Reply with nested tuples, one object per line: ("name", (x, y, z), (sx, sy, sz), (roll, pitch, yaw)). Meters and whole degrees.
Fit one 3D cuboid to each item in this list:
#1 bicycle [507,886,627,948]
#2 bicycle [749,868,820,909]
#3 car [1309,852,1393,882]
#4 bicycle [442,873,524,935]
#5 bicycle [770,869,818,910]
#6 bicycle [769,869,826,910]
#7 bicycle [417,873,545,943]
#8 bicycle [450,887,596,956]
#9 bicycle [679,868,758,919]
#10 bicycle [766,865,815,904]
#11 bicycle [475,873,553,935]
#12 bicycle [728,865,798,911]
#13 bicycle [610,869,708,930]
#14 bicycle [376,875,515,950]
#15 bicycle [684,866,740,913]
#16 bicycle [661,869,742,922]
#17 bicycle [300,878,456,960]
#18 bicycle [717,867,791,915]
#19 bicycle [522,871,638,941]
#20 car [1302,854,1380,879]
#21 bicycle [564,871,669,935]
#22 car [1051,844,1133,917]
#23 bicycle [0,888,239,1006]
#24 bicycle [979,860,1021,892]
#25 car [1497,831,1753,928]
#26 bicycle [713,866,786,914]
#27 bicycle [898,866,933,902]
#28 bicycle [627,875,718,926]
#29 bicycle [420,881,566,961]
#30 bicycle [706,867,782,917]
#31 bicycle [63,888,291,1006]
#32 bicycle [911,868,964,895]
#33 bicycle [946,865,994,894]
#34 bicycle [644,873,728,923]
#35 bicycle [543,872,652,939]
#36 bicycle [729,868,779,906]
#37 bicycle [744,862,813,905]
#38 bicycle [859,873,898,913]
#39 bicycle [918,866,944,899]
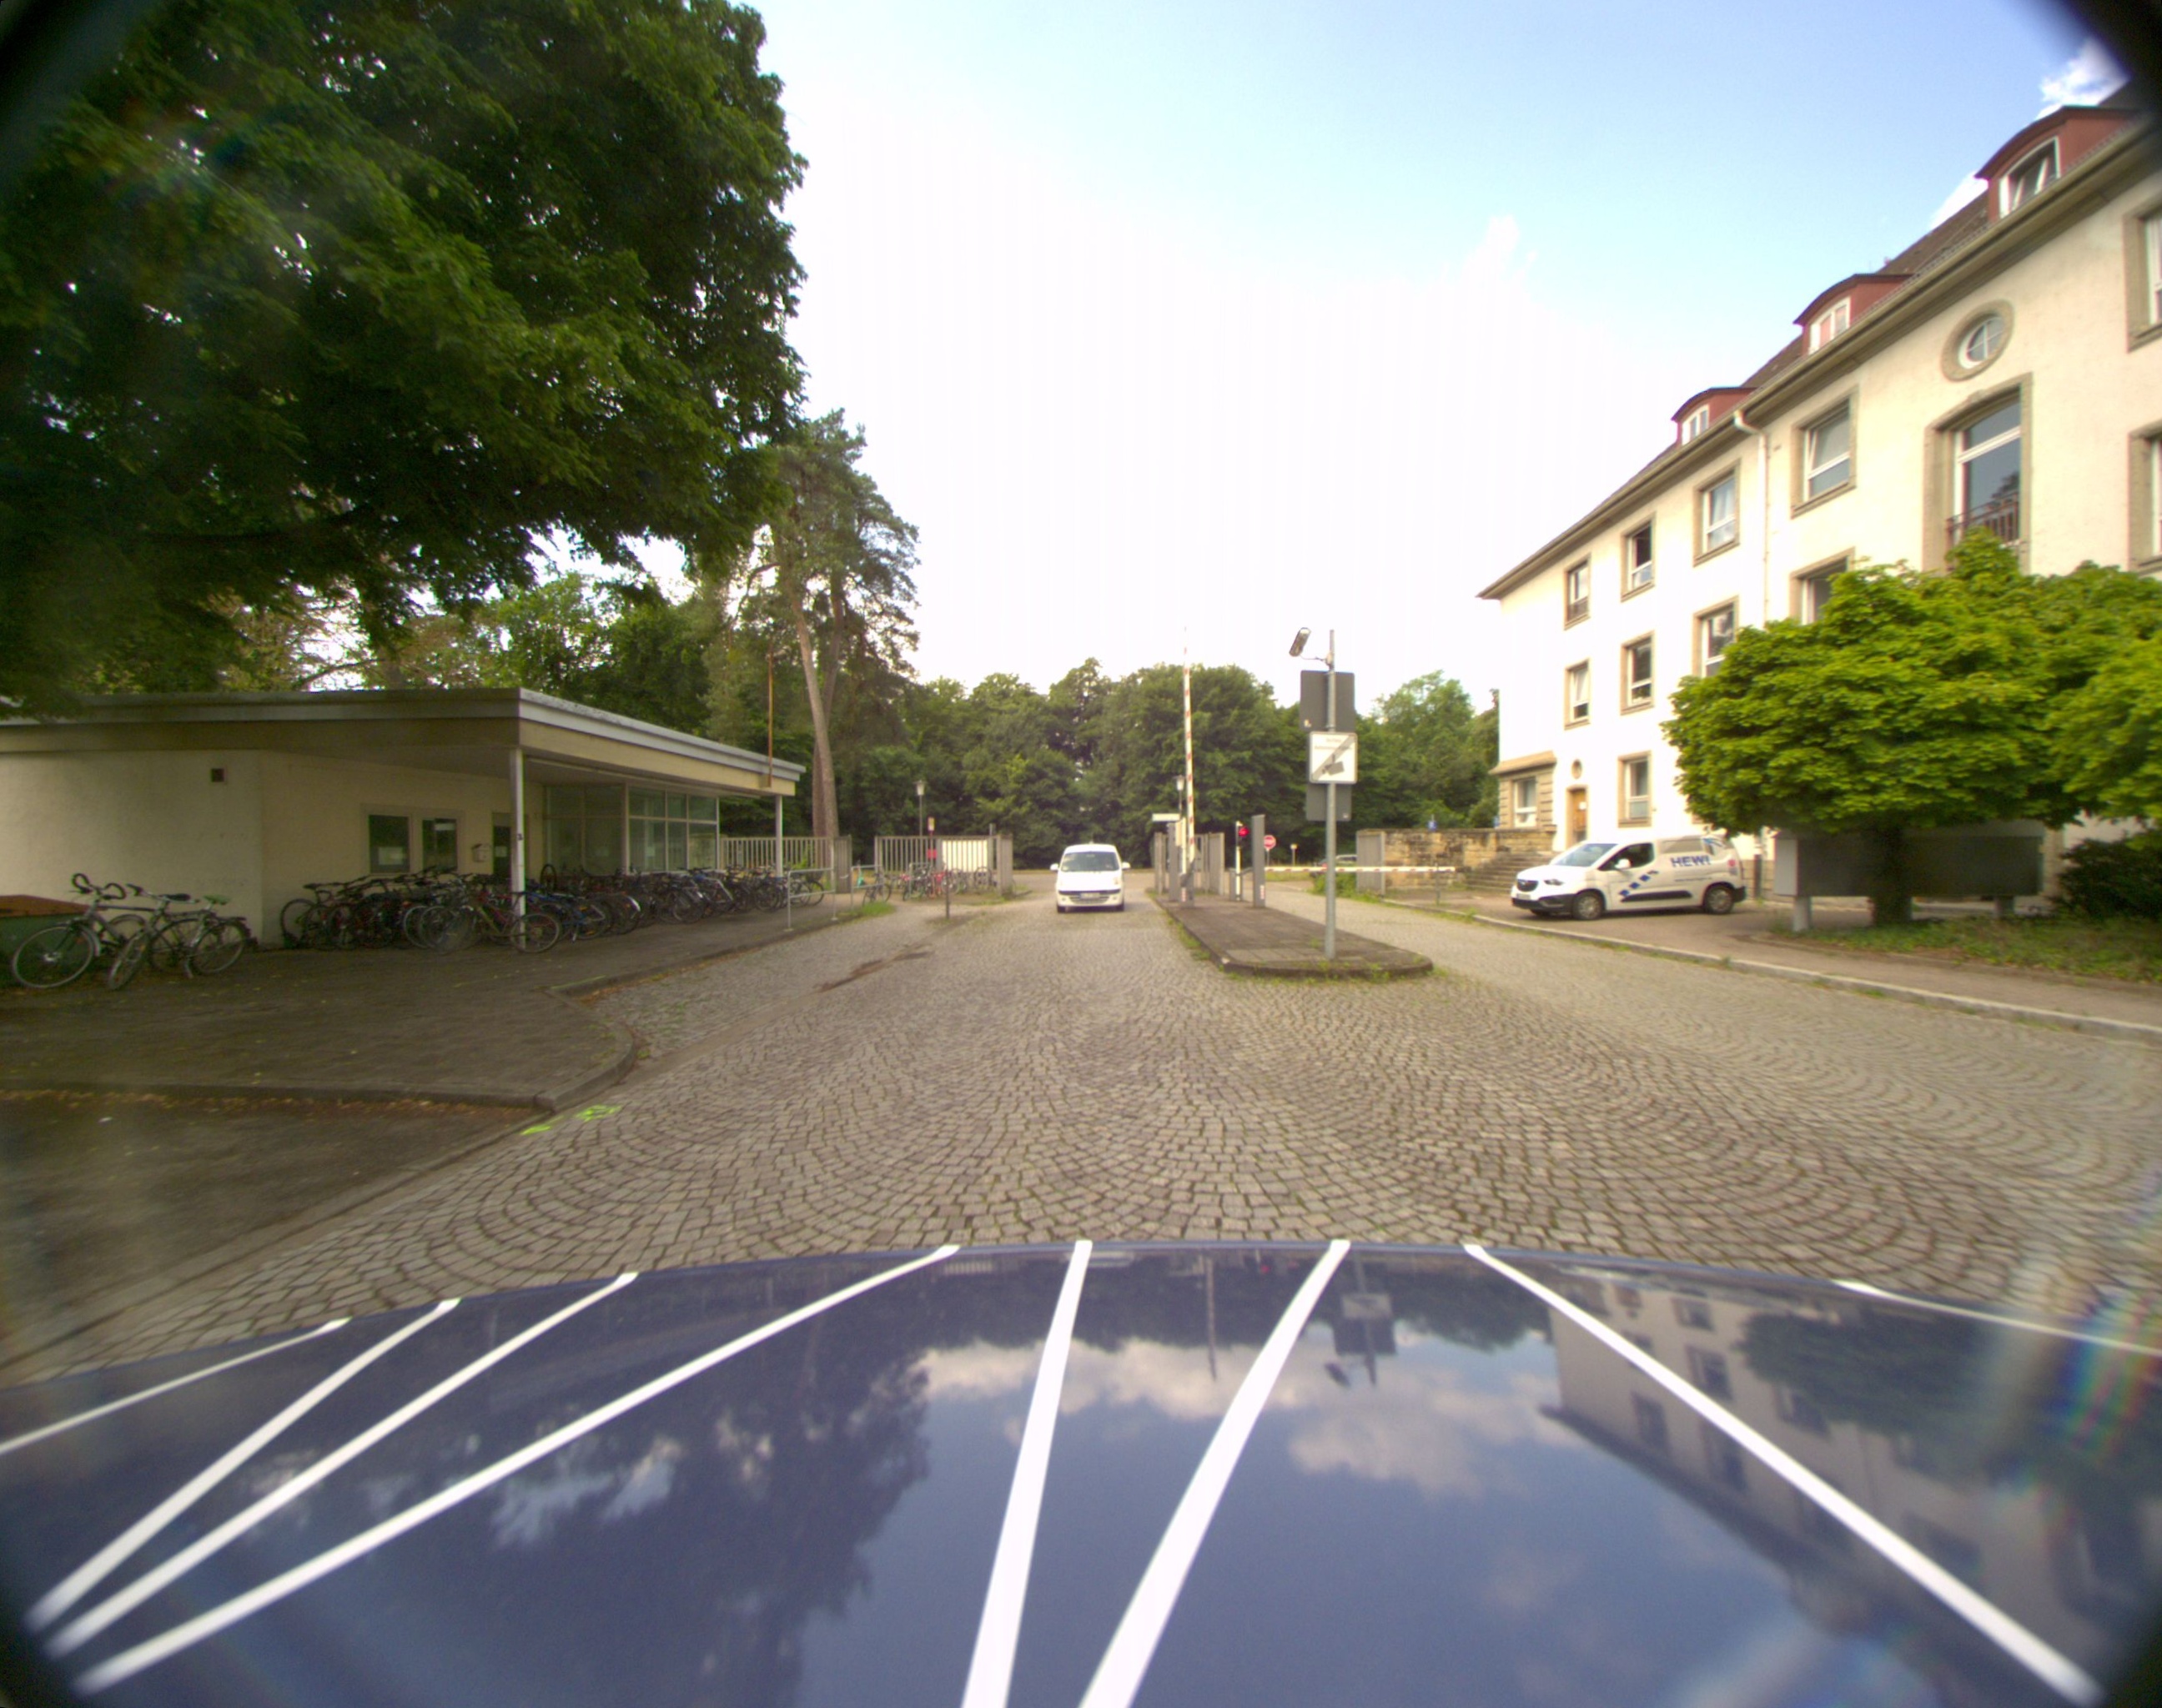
("bicycle", (-8.569, 1.031, 12.726), (1.638, 0.970, 0.322), (1, 1, -28))
("bicycle", (-8.128, 0.938, 20.862), (1.753, 1.040, 0.453), (-1, 1, -37))
("car", (14.551, 0.698, 41.071), (3.994, 1.508, 1.803), (-1, 0, 8))
("bicycle", (-11.502, 0.929, 14.662), (0.480, 1.069, 1.680), (1, 0, -9))
("bicycle", (-7.561, 0.925, 20.065), (1.154, 1.056, 0.286), (-1, 1, -19))
("bicycle", (-7.629, 0.941, 20.462), (1.408, 1.040, 0.338), (-1, 1, -25))
("bicycle", (-10.622, 0.951, 13.482), (1.745, 1.158, 0.608), (1, 1, -2))
("bicycle", (-8.676, 1.025, 11.910), (1.749, 0.970, 0.757), (1, 1, -28))
("bicycle", (-8.395, 0.906, 17.606), (1.617, 1.134, 0.325), (1, 1, -6))
("bicycle", (-8.849, 0.905, 23.182), (0.648, 1.132, 1.681), (0, 1, 8))
("bicycle", (-10.929, 0.934, 14.713), (0.480, 1.069, 1.680), (1, 0, -9))
("bicycle", (-8.161, 0.880, 19.525), (1.617, 1.134, 0.356), (1, 1, -6))
("bicycle", (-8.441, 0.916, 15.252), (1.635, 1.183, 0.498), (1, 1, -11))
("bicycle", (-10.470, 0.956, 12.557), (1.745, 1.158, 0.608), (1, 1, -2))
("bicycle", (-9.333, 0.872, 19.265), (0.491, 1.069, 1.832), (1, 0, 1))
("bicycle", (-8.453, 0.915, 16.937), (1.596, 1.134, 0.325), (1, 1, -6))
("bicycle", (-10.638, 0.973, 11.534), (1.745, 1.158, 0.608), (1, 1, -2))
("bicycle", (-7.928, 0.893, 18.453), (1.617, 1.134, 0.325), (1, 1, -6))
("bicycle", (-8.762, 0.911, 13.333), (1.635, 1.183, 0.473), (1, 1, -12))
("car", (15.082, 0.736, 44.256), (3.994, 1.338, 1.803), (-1, 0, 8))
("bicycle", (-8.814, 0.937, 14.459), (1.635, 1.183, 0.419), (1, 1, -11))
("car", (0.412, 0.656, 21.063), (1.866, 1.749, 4.150), (-2, 0, 6))
("bicycle", (-10.665, 0.977, 8.526), (0.598, 1.110, 1.635), (1, 0, 1))
("bicycle", (-3.246, 0.874, 30.623), (1.655, 1.223, 0.749), (1, 1, -6))
("car", (11.895, 0.517, 16.812), (4.312, 1.796, 1.820), (-3, 1, 0))
("bicycle", (-8.241, 0.889, 18.902), (1.617, 1.134, 0.356), (1, 1, -6))
("bicycle", (-5.224, 0.935, 24.037), (0.692, 1.056, 1.565), (0, 1, 2))
("bicycle", (-8.552, 0.968, 15.932), (1.636, 1.044, 0.334), (1, 1, -13))
("bicycle", (-8.490, 0.965, 11.015), (1.682, 1.102, 0.338), (1, 1, -12))
("bicycle", (-7.997, 0.900, 18.070), (1.617, 1.134, 0.325), (1, 1, -6))
("bicycle", (-10.037, 0.983, 8.535), (0.598, 1.110, 1.635), (1, 0, 1))
("bicycle", (-5.264, 1.011, 27.968), (1.868, 0.934, 0.503), (1, 1, -3))
("bicycle", (-4.213, 0.962, 28.799), (1.730, 1.027, 0.387), (1, 1, 3))
("bicycle", (-8.580, 0.961, 16.521), (1.596, 1.044, 0.325), (1, 1, -6))
("bicycle", (-8.783, 0.942, 13.846), (1.635, 1.183, 0.419), (1, 1, -11))
("bicycle", (-9.288, 0.920, 21.640), (0.404, 1.004, 1.359), (0, 1, 25))
("bicycle", (-8.512, 0.803, 21.417), (1.744, 1.125, 0.473), (-1, 1, -42))
("bicycle", (-5.446, 1.034, 20.522), (0.535, 0.947, 1.655), (0, 1, 2))
("bicycle", (-5.059, 0.959, 25.746), (0.474, 1.051, 1.732), (0, 1, 2))
